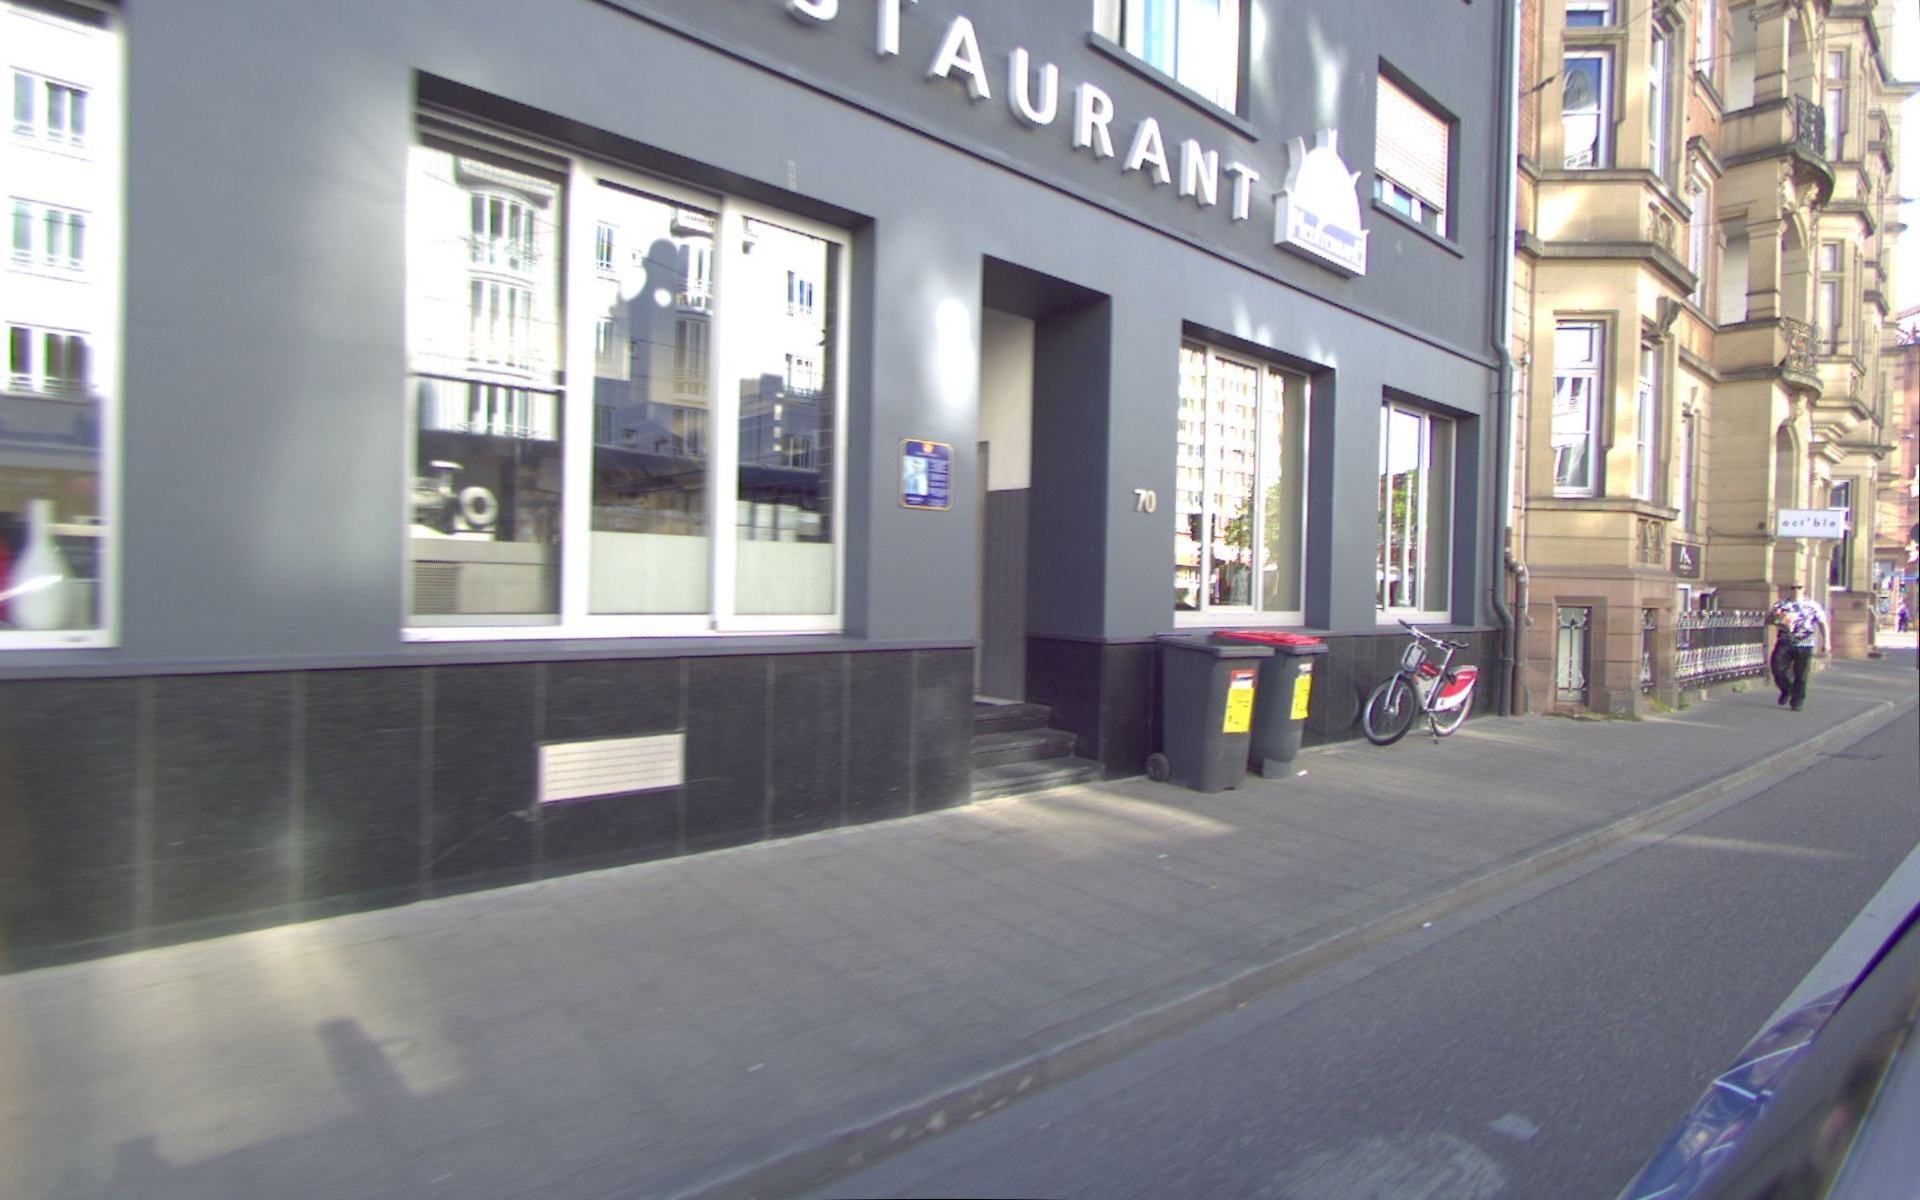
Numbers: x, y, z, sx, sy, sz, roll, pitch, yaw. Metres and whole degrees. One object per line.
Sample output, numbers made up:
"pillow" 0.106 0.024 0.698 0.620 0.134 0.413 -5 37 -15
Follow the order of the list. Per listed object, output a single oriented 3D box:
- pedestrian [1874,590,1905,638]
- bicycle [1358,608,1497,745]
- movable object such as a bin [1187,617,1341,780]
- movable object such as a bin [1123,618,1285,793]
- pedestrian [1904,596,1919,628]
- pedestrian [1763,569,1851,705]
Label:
"pedestrian" 33.521 0.498 36.486 0.620 1.675 0.702 -1 2 -38
"bicycle" 4.397 0.665 9.455 1.742 1.136 0.460 0 2 -41
"movable object such as a bin" 2.259 0.692 7.539 0.740 1.048 0.750 0 5 -40
"movable object such as a bin" 1.694 0.689 7.054 0.740 1.048 0.750 0 5 -40
"pedestrian" 51.342 0.646 54.243 0.924 1.652 0.925 -1 2 -36
"pedestrian" 11.558 0.490 13.808 1.075 1.772 0.780 3 -1 -44
